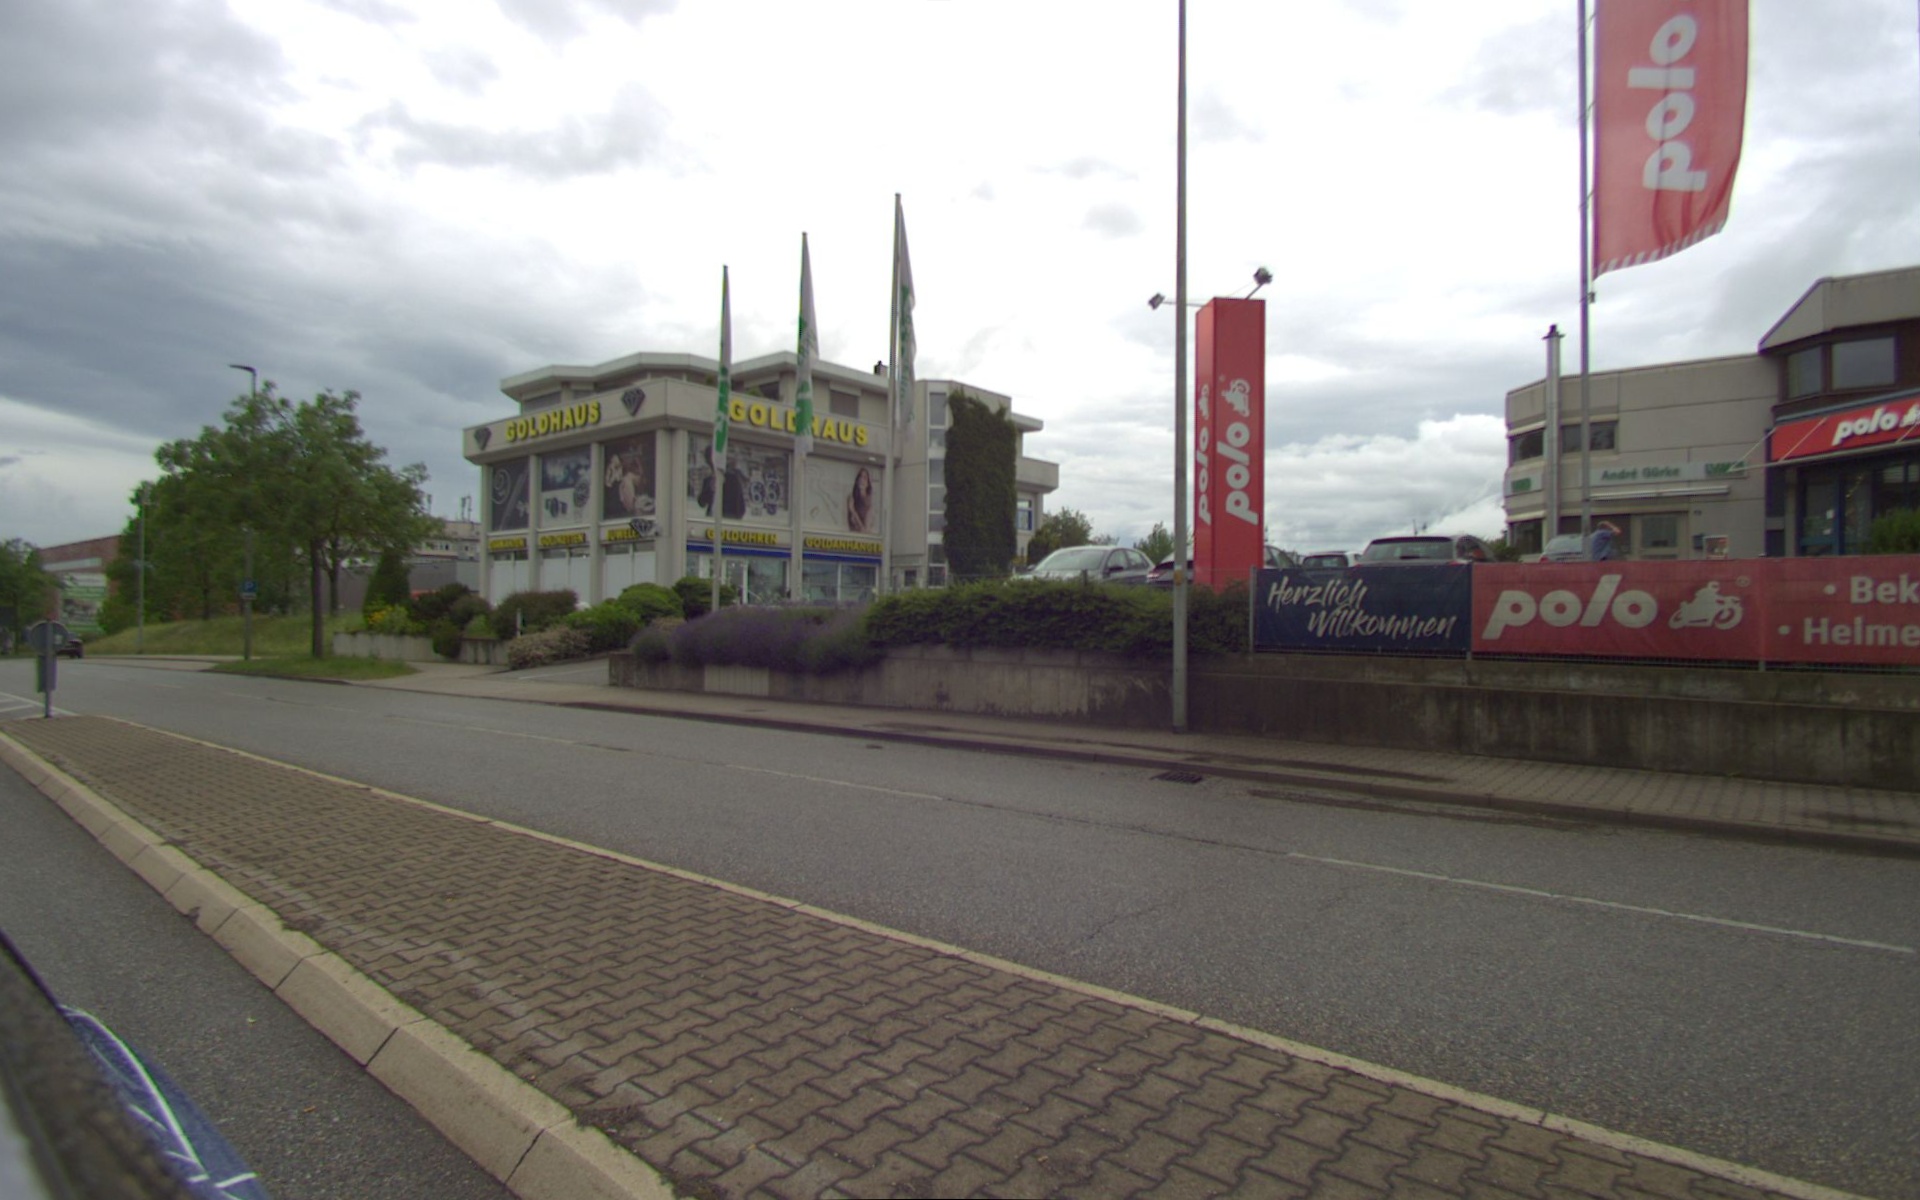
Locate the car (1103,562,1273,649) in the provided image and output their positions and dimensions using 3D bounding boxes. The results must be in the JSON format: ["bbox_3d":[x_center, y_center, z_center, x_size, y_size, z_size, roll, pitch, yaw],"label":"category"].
[{"bbox_3d":[3.864,0.125,16.863,1.452,1.287,3.353,-2,-2,38],"label":"car"}]

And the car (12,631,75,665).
[{"bbox_3d":[-55.042,2.894,60.763,4.542,1.905,2.320,-4,-4,41],"label":"car"}]

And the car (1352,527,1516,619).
[{"bbox_3d":[7.076,-0.323,14.972,1.452,1.176,3.353,-2,-2,38],"label":"car"}]

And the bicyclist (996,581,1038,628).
[{"bbox_3d":[1.920,0.150,34.027,0.909,1.453,1.015,-2,4,38],"label":"bicyclist"}]

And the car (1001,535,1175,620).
[{"bbox_3d":[2.357,-0.327,18.070,1.454,1.347,3.350,-2,-2,42],"label":"car"}]
